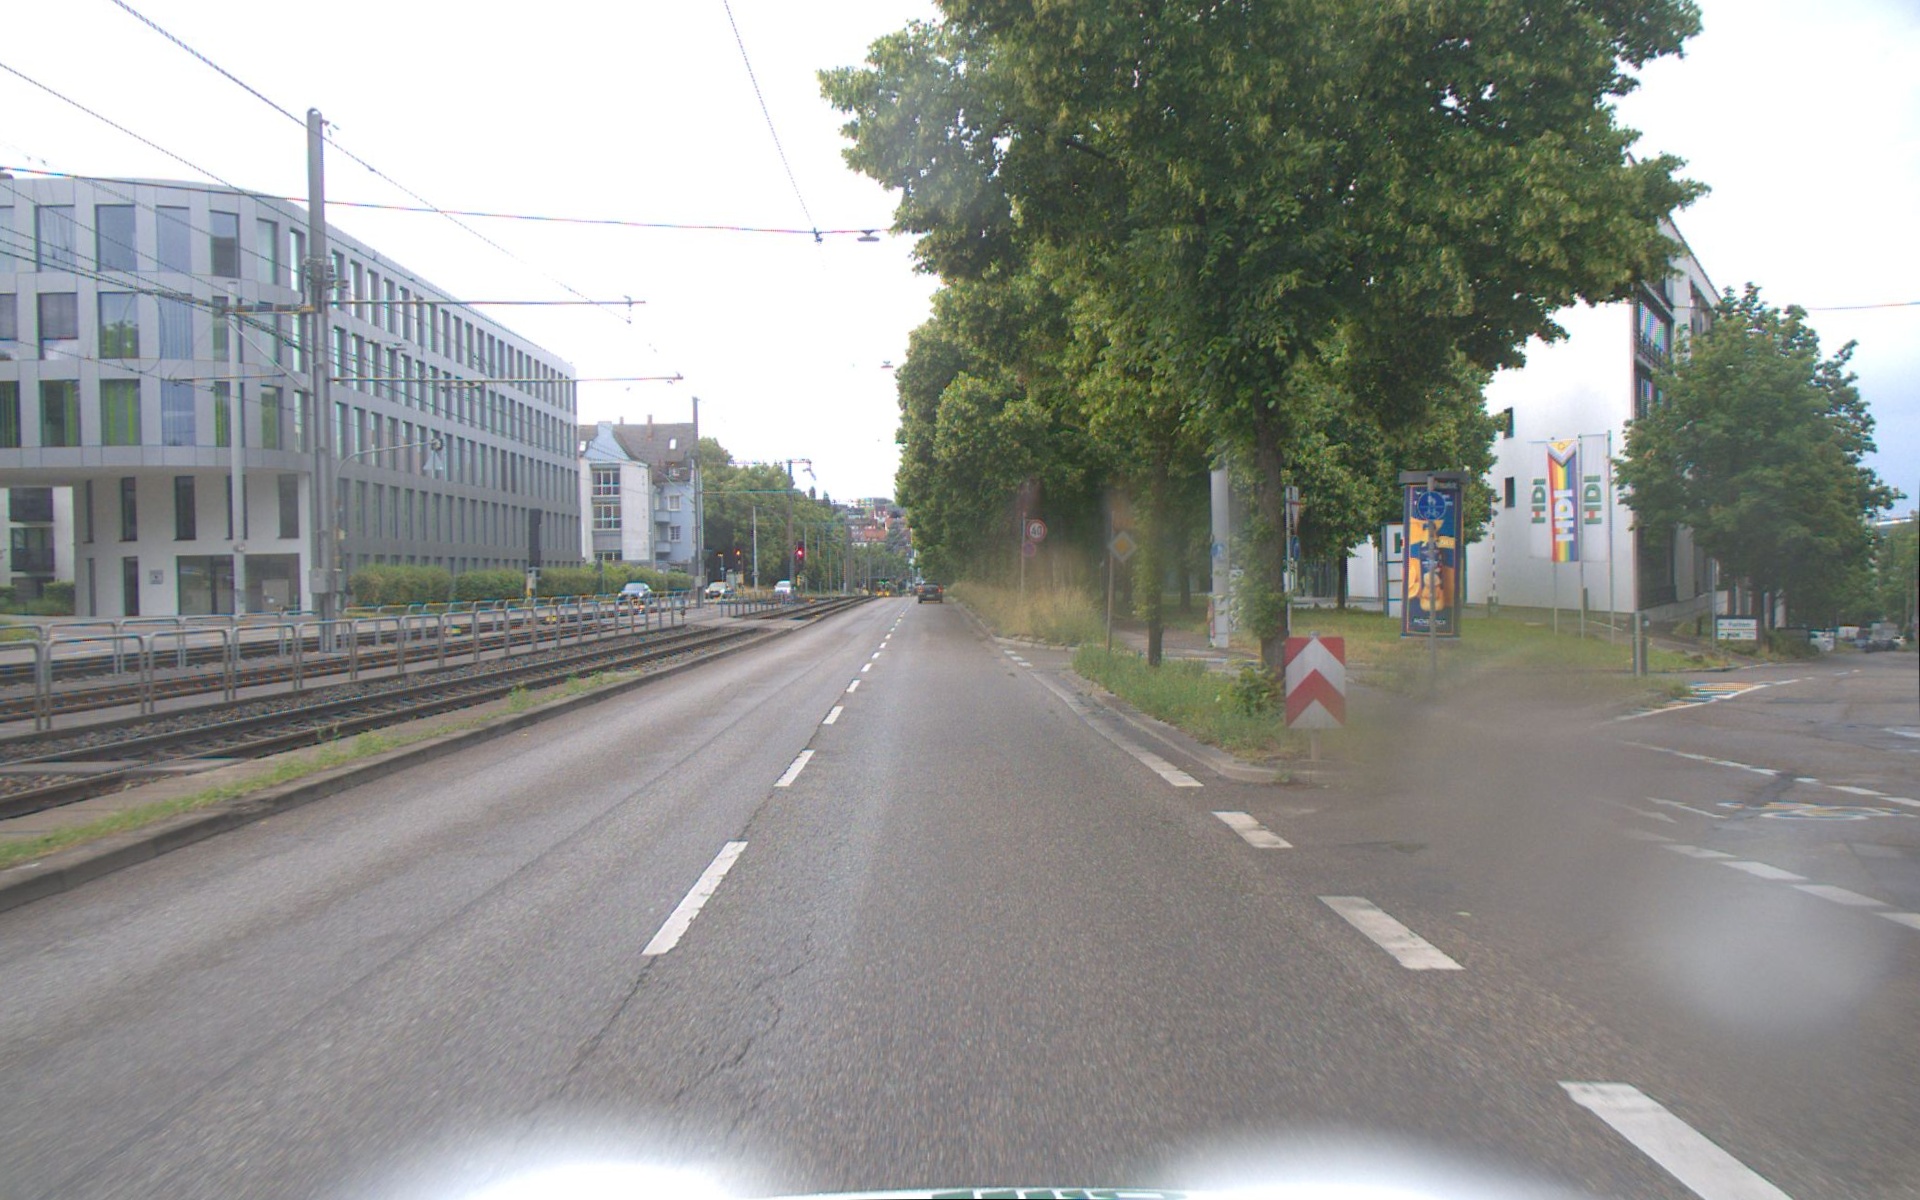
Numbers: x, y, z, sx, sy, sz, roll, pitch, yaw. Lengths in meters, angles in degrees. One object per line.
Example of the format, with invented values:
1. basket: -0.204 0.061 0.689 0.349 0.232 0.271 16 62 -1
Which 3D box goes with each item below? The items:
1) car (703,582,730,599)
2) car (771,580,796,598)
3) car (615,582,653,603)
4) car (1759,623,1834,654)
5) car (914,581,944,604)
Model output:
1. car: -20.855 -0.832 141.814 1.761 1.370 4.258 -1 1 -1
2. car: -17.485 -1.076 163.809 1.863 1.673 4.884 -1 1 0
3. car: -21.211 -0.499 107.598 1.720 1.265 3.987 -1 1 -1
4. car: 49.445 2.275 97.816 3.908 1.747 1.998 0 0 26
5. car: -2.101 -0.508 111.644 1.942 1.466 4.473 -1 1 -1
